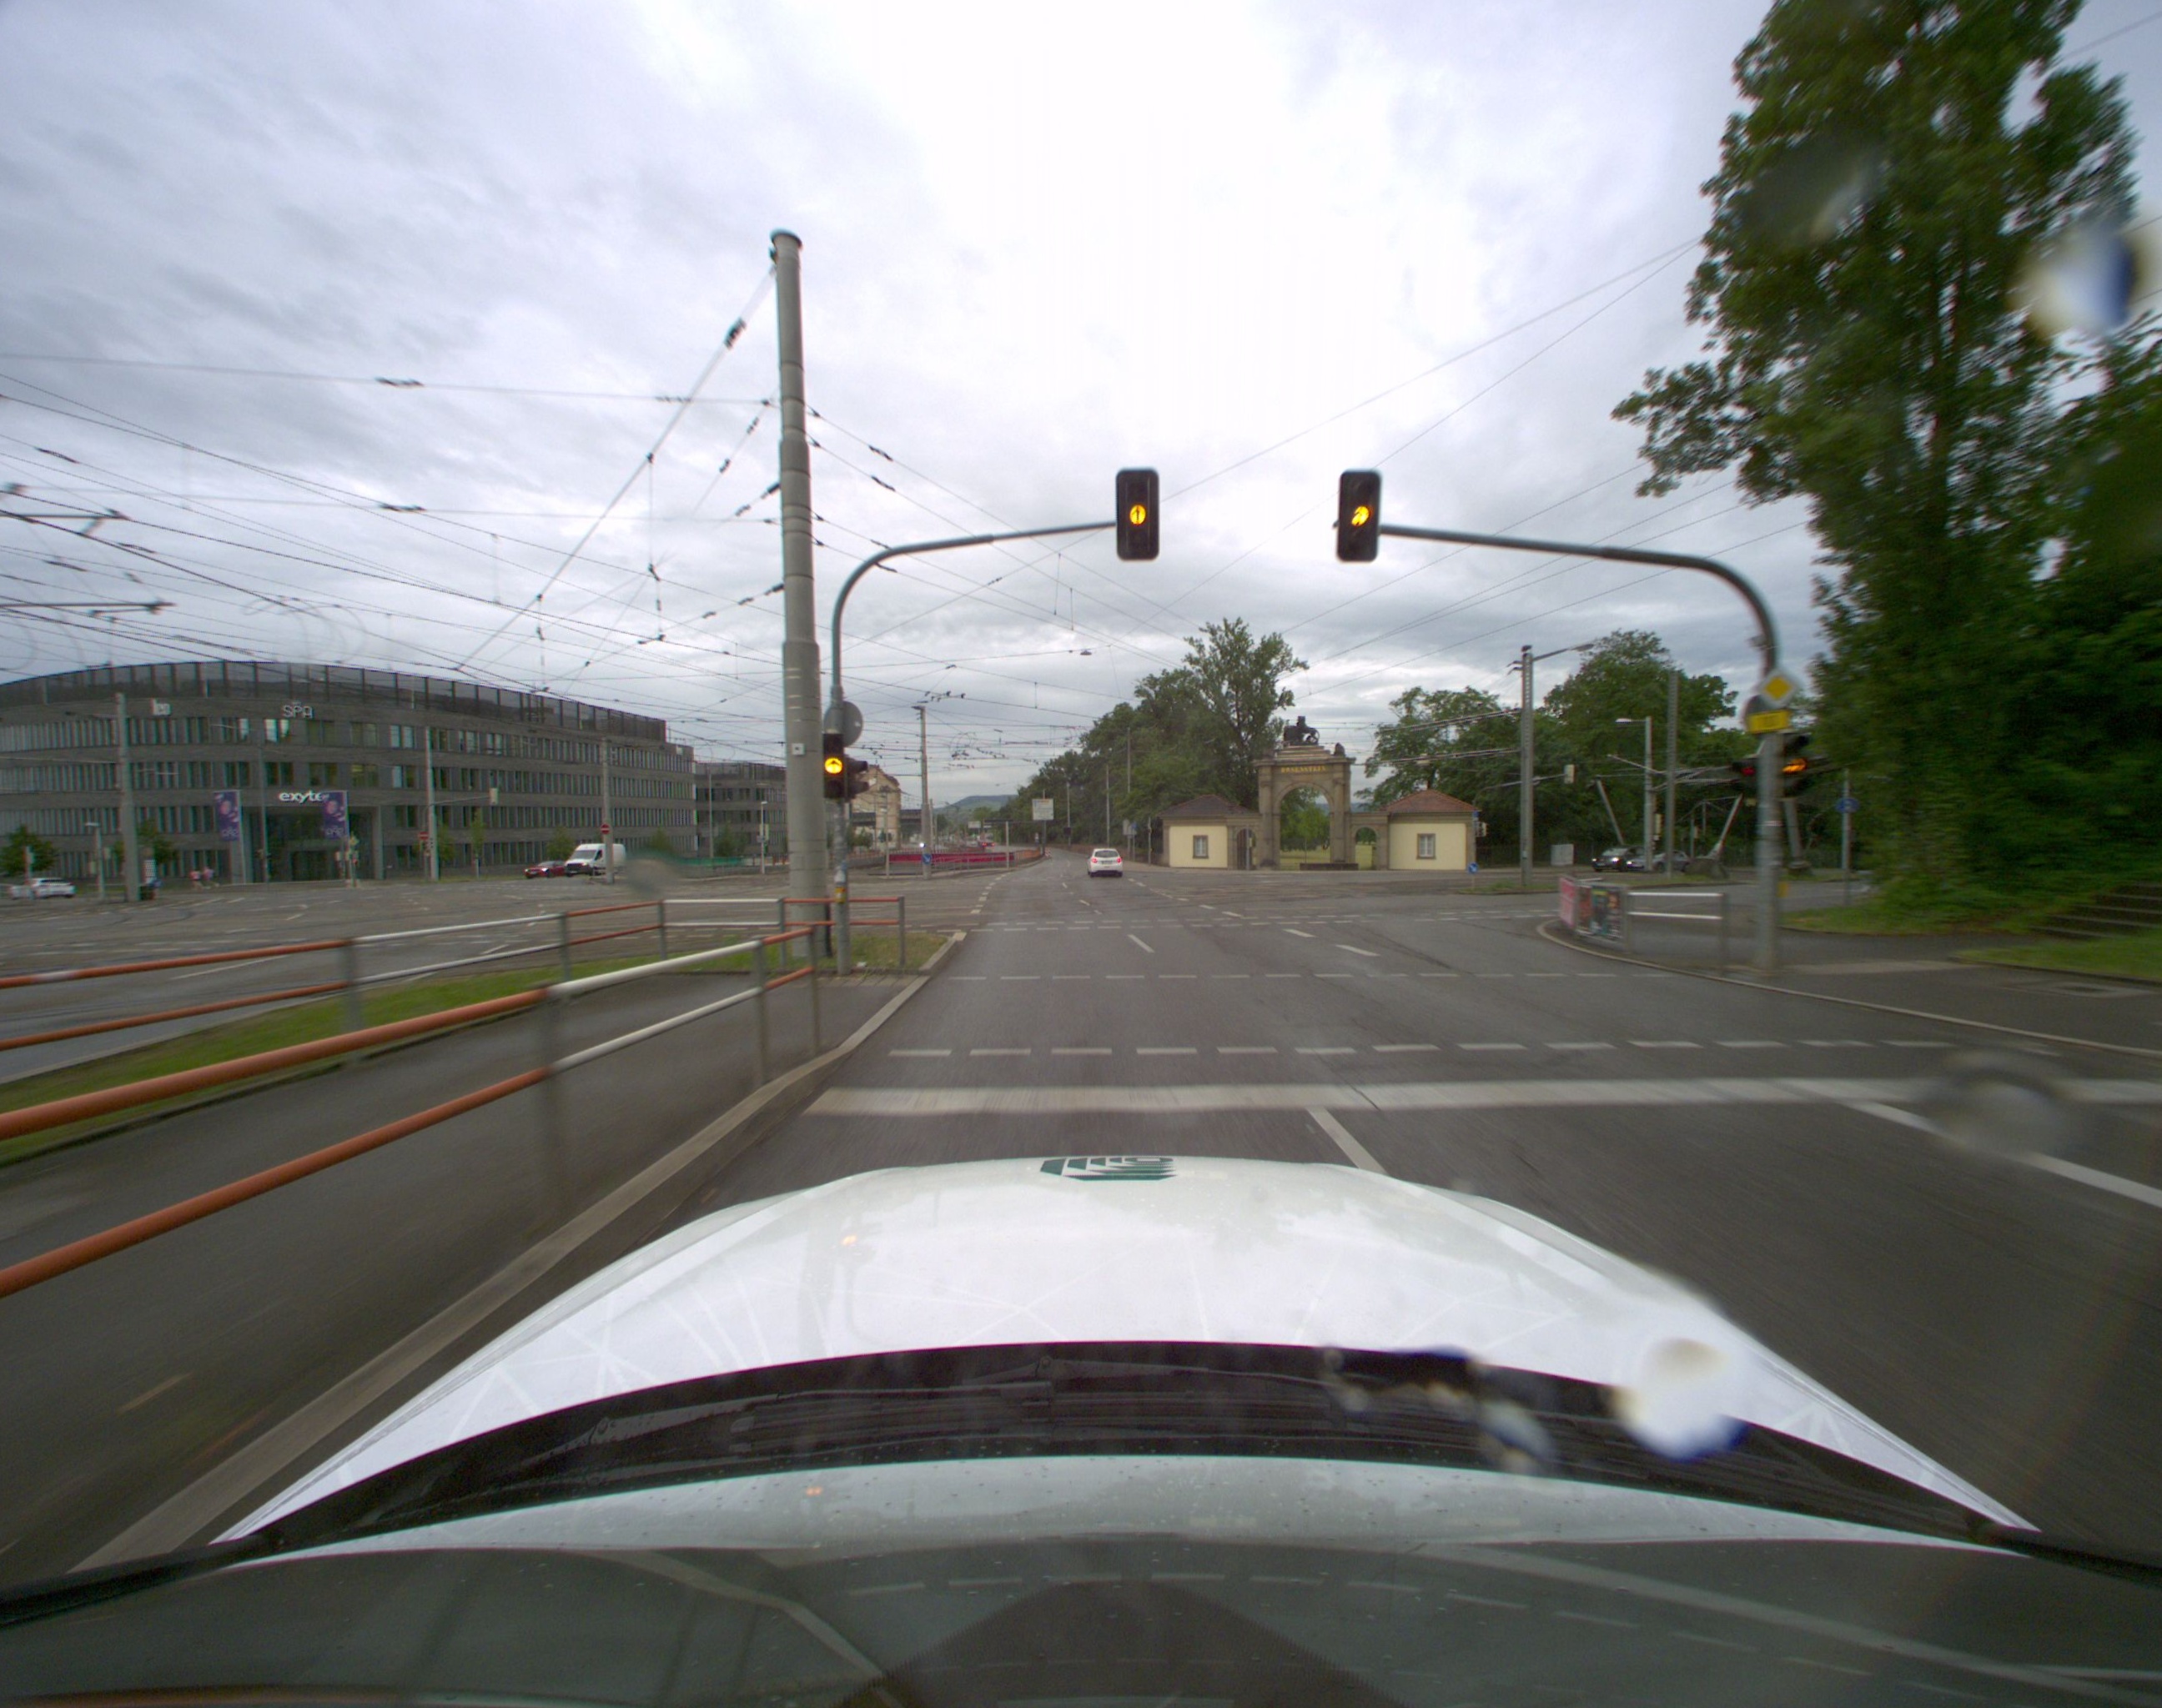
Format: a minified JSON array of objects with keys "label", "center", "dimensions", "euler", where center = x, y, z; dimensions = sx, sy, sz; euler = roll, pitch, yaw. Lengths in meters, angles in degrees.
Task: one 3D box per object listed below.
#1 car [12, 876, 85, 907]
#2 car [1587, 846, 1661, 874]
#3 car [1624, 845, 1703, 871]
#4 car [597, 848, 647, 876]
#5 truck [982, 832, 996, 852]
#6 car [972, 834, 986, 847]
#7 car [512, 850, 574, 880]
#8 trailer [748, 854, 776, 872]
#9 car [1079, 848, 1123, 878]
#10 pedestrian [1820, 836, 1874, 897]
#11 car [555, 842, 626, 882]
[{"label":"car","center":[-70.177,2.522,55.336],"dimensions":[3.952,2.014,2.011],"euler":[-2,-2,22]},{"label":"car","center":[35.595,0.374,53.388],"dimensions":[4.265,1.735,1.985],"euler":[0,-2,-22]},{"label":"car","center":[36.195,0.248,50.586],"dimensions":[4.265,1.455,1.985],"euler":[0,-2,-22]},{"label":"car","center":[-39.929,0.757,70.971],"dimensions":[1.988,2.153,4.244],"euler":[-2,-3,-1]},{"label":"truck","center":[-27.308,-3.436,240.984],"dimensions":[3.464,5.401,12.012],"euler":[-1,-2,-9]},{"label":"car","center":[-15.780,-2.143,125.783],"dimensions":[1.994,1.872,3.986],"euler":[-3,0,-10]},{"label":"car","center":[-41.466,0.844,62.852],"dimensions":[1.988,2.153,4.244],"euler":[-2,-2,-1]},{"label":"trailer","center":[-38.958,1.131,99.615],"dimensions":[1.821,2.074,4.270],"euler":[-1,-2,-2]},{"label":"car","center":[1.009,0.506,43.789],"dimensions":[1.952,1.488,3.993],"euler":[-1,-2,-4]},{"label":"pedestrian","center":[20.286,0.320,21.575],"dimensions":[0.654,1.554,0.806],"euler":[-1,2,-16]},{"label":"car","center":[-37.955,0.580,63.199],"dimensions":[1.988,2.831,5.714],"euler":[-3,1,-1]}]
